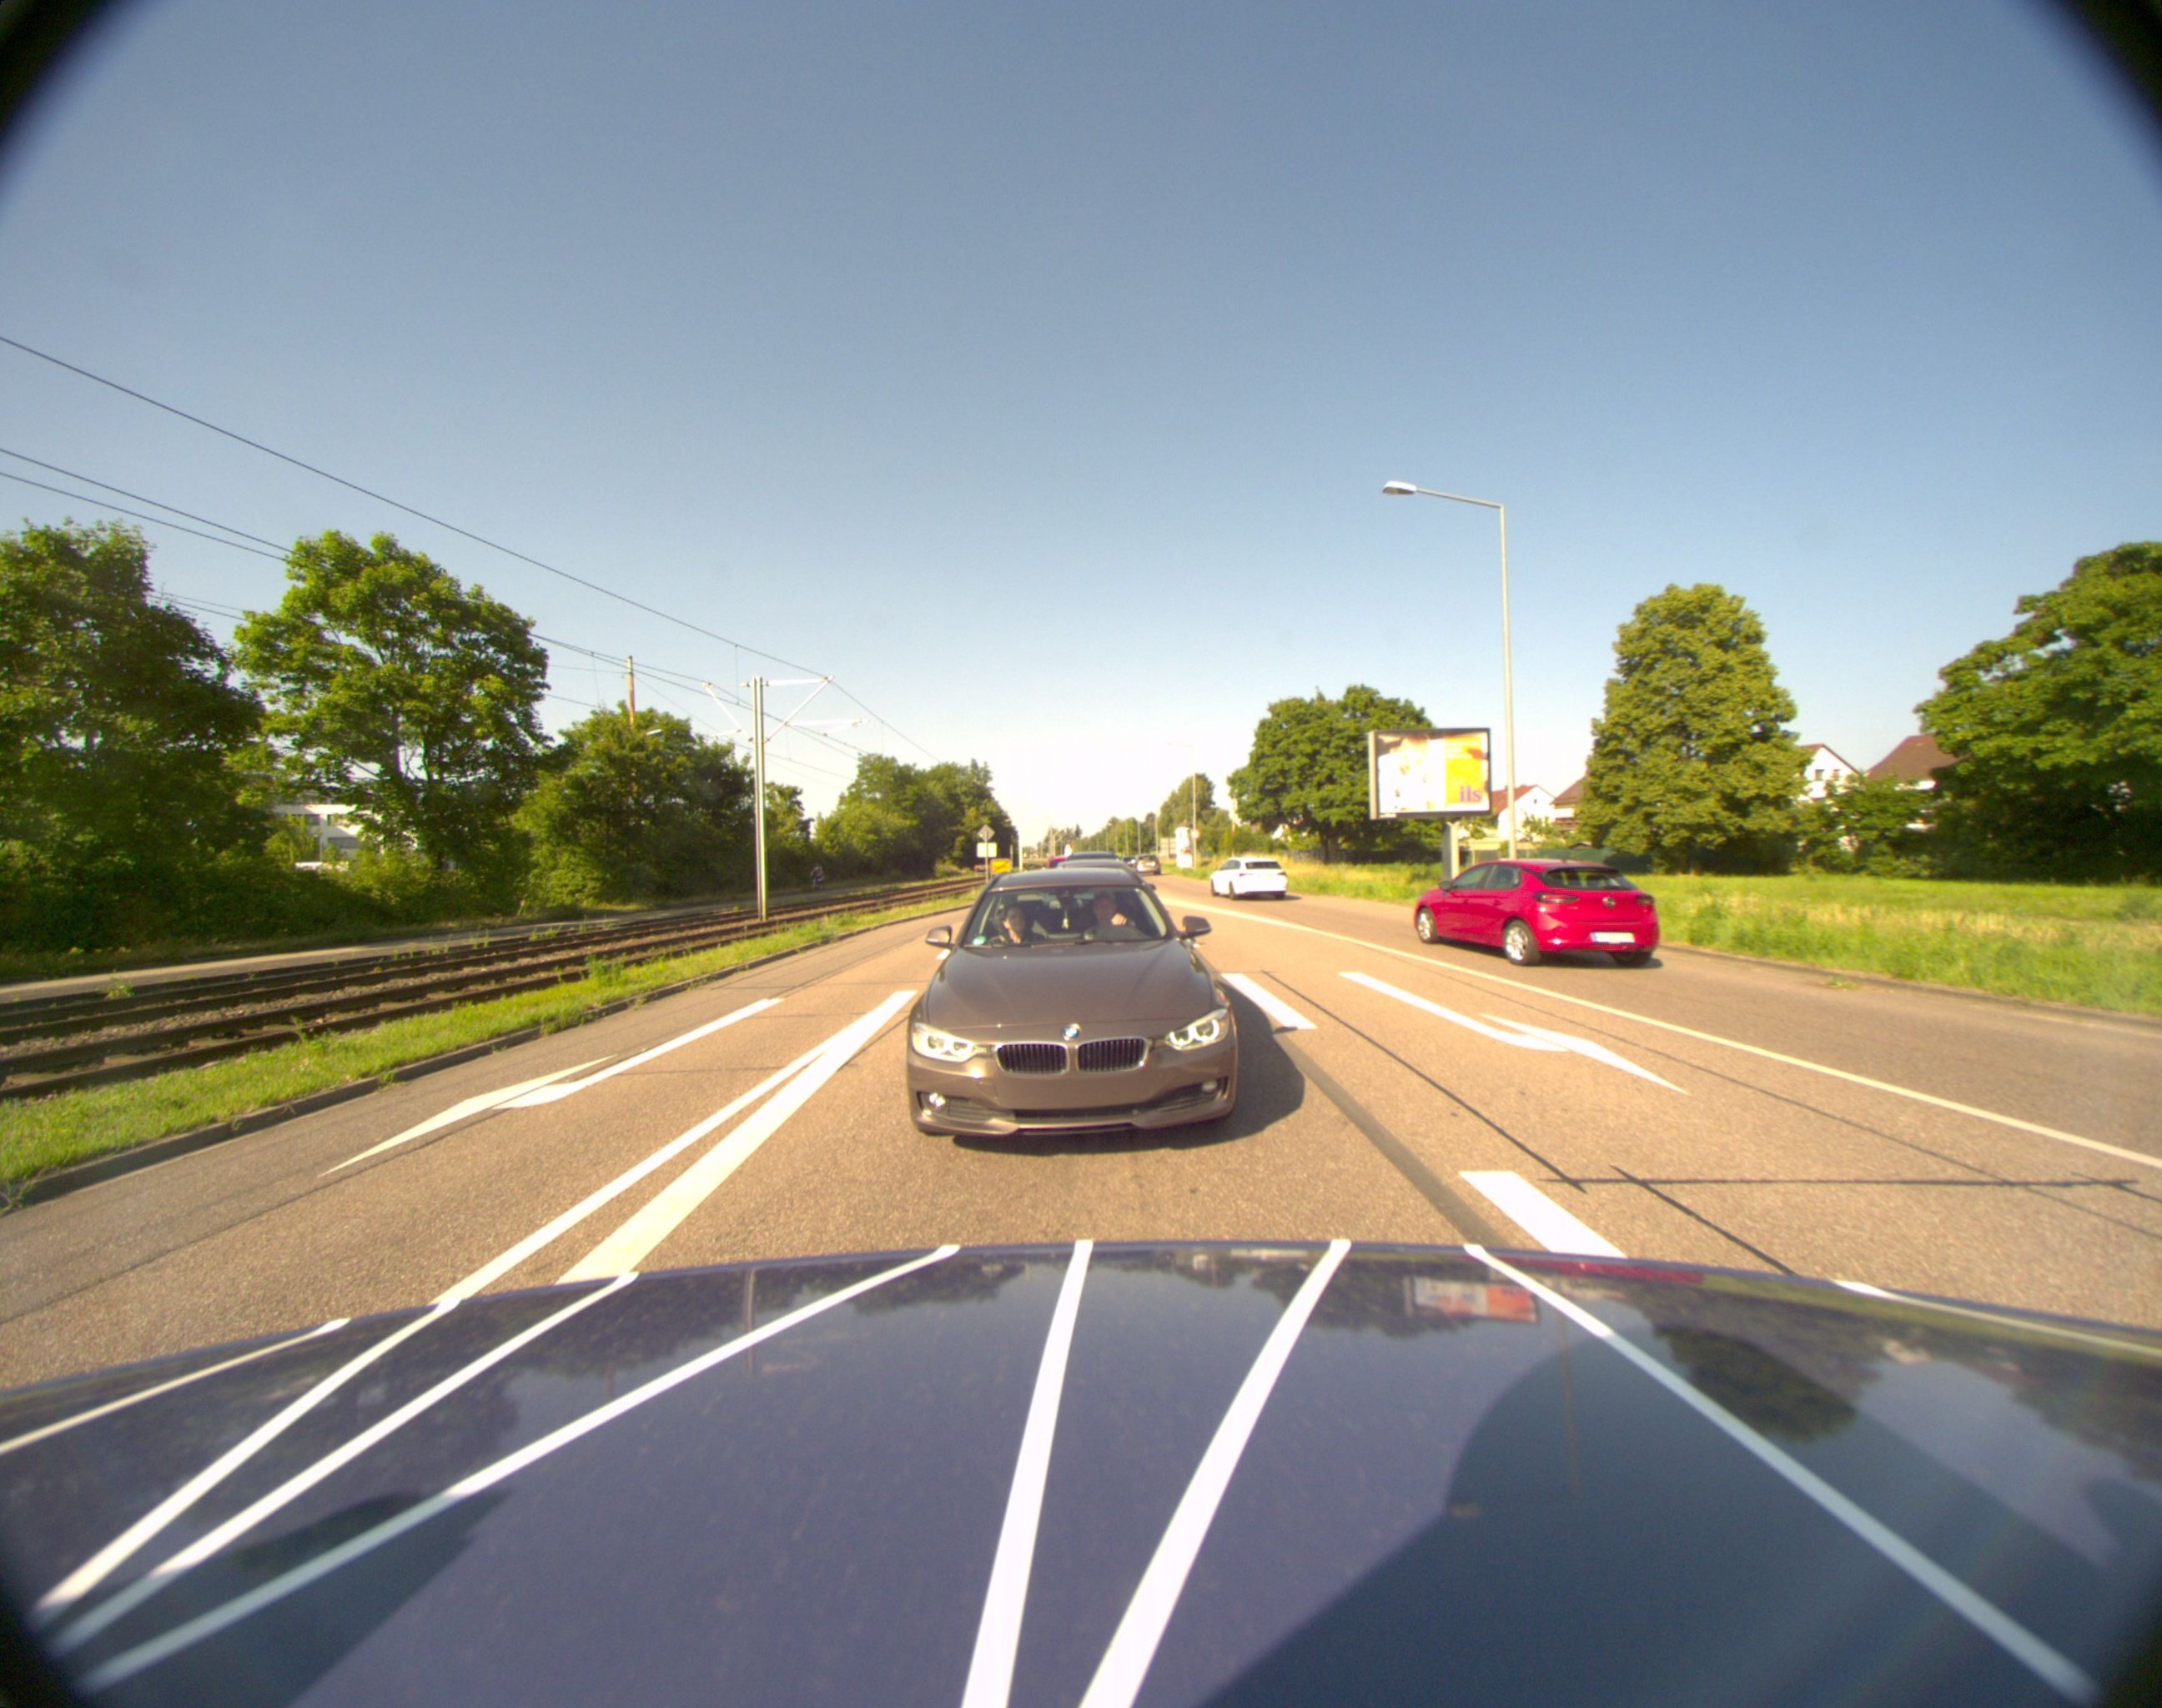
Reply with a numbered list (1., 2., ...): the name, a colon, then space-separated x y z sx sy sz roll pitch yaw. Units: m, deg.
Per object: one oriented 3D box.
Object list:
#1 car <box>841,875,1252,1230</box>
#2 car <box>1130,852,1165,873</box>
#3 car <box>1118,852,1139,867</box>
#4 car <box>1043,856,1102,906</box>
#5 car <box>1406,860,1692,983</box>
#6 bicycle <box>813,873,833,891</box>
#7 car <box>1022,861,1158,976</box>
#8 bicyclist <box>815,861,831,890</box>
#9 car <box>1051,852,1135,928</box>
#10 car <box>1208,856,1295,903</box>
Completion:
1. car: -0.129 0.974 5.706 1.821 1.416 4.461 -2 0 1
2. car: 4.768 0.591 54.956 1.784 1.469 4.285 -1 0 -4
3. car: 4.957 0.573 79.511 1.784 1.469 4.285 -1 0 -3
4. car: -0.241 0.858 25.985 1.807 1.498 4.197 -1 0 0
5. car: 6.610 0.846 11.326 1.784 1.469 3.913 0 0 -2
6. bicycle: -16.300 1.748 47.959 0.547 1.041 1.874 -1 0 2
7. car: 0.142 0.899 12.651 1.821 1.481 4.611 -1 0 0
8. bicyclist: -16.301 1.349 47.965 0.708 1.797 0.718 -1 1 2
9. car: 0.289 0.799 19.393 1.821 1.641 4.611 -2 0 0
10. car: 5.833 0.807 26.508 1.784 1.469 4.271 -1 0 -4
